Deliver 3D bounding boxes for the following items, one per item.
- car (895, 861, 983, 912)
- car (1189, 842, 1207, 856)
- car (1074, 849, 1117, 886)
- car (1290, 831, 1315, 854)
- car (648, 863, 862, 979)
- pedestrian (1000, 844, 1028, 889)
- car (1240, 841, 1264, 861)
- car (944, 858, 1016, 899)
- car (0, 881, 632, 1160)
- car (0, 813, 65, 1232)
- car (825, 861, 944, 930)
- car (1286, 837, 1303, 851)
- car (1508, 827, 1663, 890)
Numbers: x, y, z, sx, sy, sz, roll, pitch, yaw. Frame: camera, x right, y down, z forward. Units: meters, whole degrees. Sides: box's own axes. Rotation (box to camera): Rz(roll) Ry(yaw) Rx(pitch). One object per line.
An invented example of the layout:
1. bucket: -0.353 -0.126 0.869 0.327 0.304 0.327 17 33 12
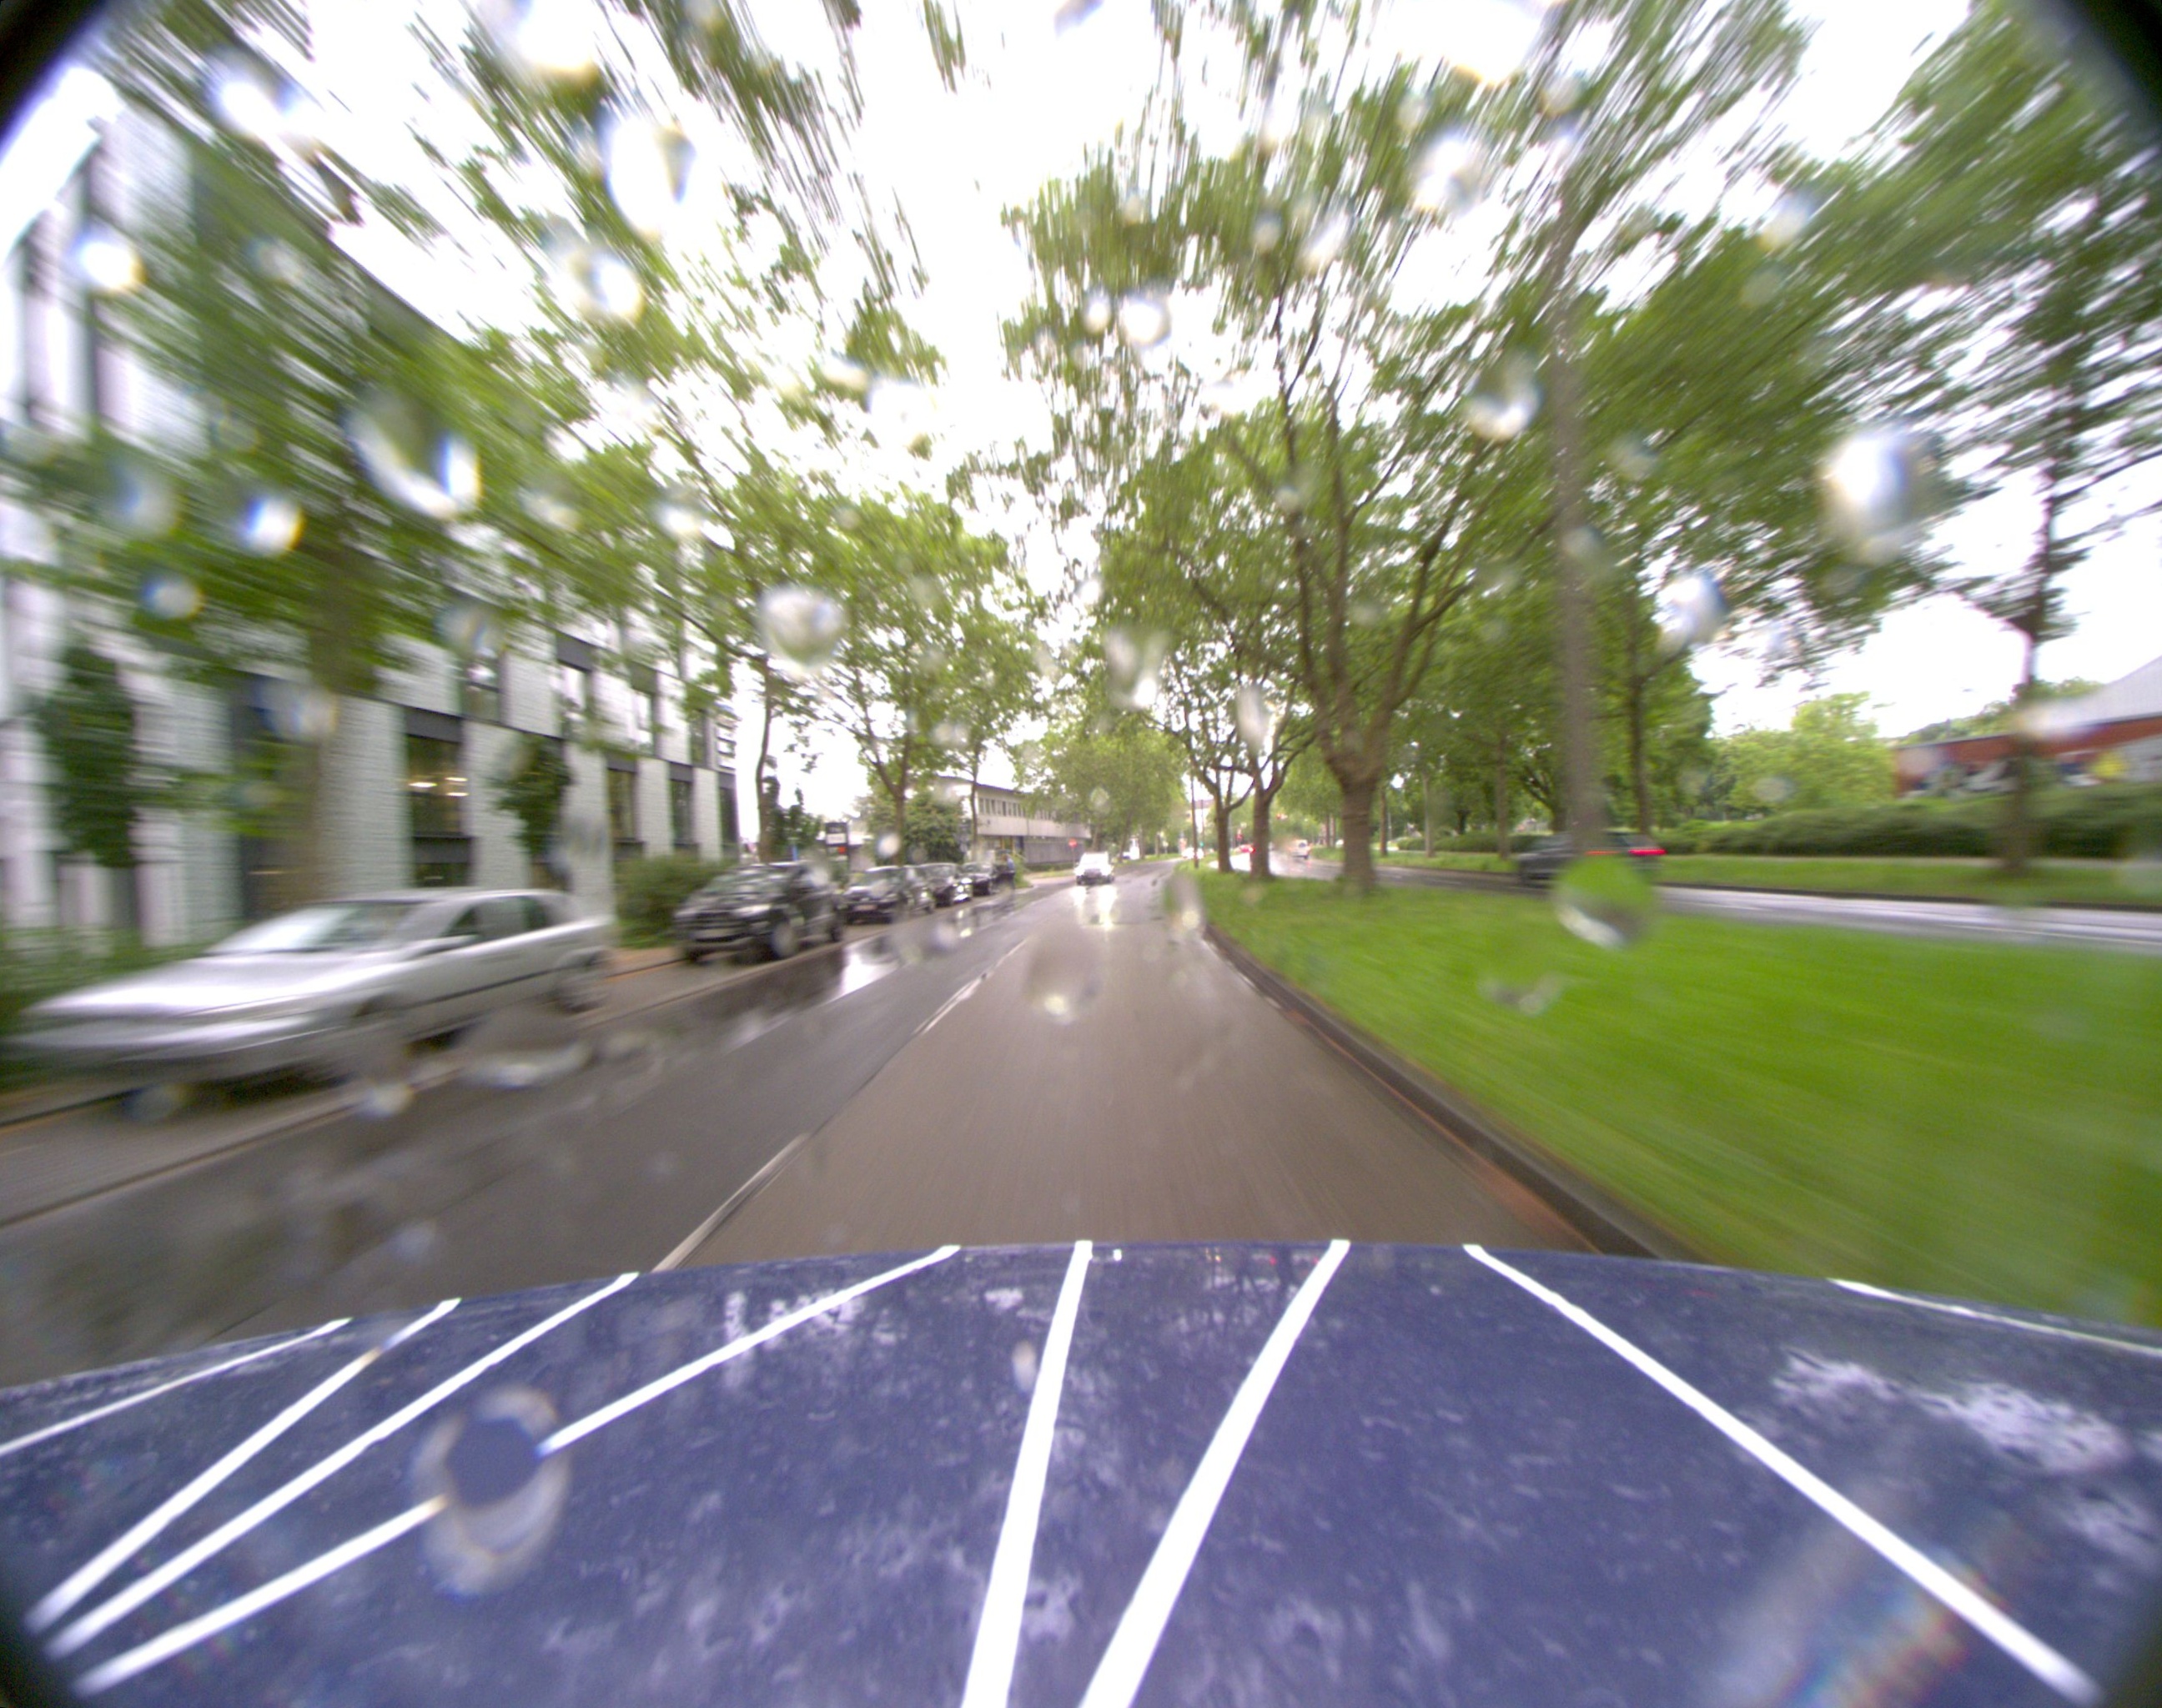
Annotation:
1. car: -4.890 1.063 26.932 1.747 1.420 5.104 -3 1 4
2. car: 15.572 -0.646 100.591 1.997 1.620 4.525 -4 1 12
3. car: 0.853 0.658 40.150 1.998 1.585 5.590 -4 1 3
4. car: 22.733 -1.212 77.992 2.032 2.213 5.440 -3 1 20
5. car: -5.626 1.060 13.811 1.747 1.557 4.371 -3 1 3
6. pedestrian: -3.067 0.557 34.646 0.901 2.002 0.831 -4 1 -31
7. car: 17.290 -0.353 76.630 2.033 1.726 4.959 -3 1 16
8. car: -4.332 1.018 33.468 1.746 1.420 4.870 -3 1 9
9. car: -6.359 1.142 6.919 1.747 1.461 4.306 -3 1 3
10. car: -6.423 0.913 1.129 2.126 2.016 5.527 -3 1 3
11. car: -5.206 1.041 20.692 1.747 1.468 4.083 -3 1 6
12. car: 28.370 -1.299 101.105 1.996 1.622 4.335 -4 1 15
13. car: 14.372 0.073 21.973 1.747 1.552 4.369 -3 1 4
